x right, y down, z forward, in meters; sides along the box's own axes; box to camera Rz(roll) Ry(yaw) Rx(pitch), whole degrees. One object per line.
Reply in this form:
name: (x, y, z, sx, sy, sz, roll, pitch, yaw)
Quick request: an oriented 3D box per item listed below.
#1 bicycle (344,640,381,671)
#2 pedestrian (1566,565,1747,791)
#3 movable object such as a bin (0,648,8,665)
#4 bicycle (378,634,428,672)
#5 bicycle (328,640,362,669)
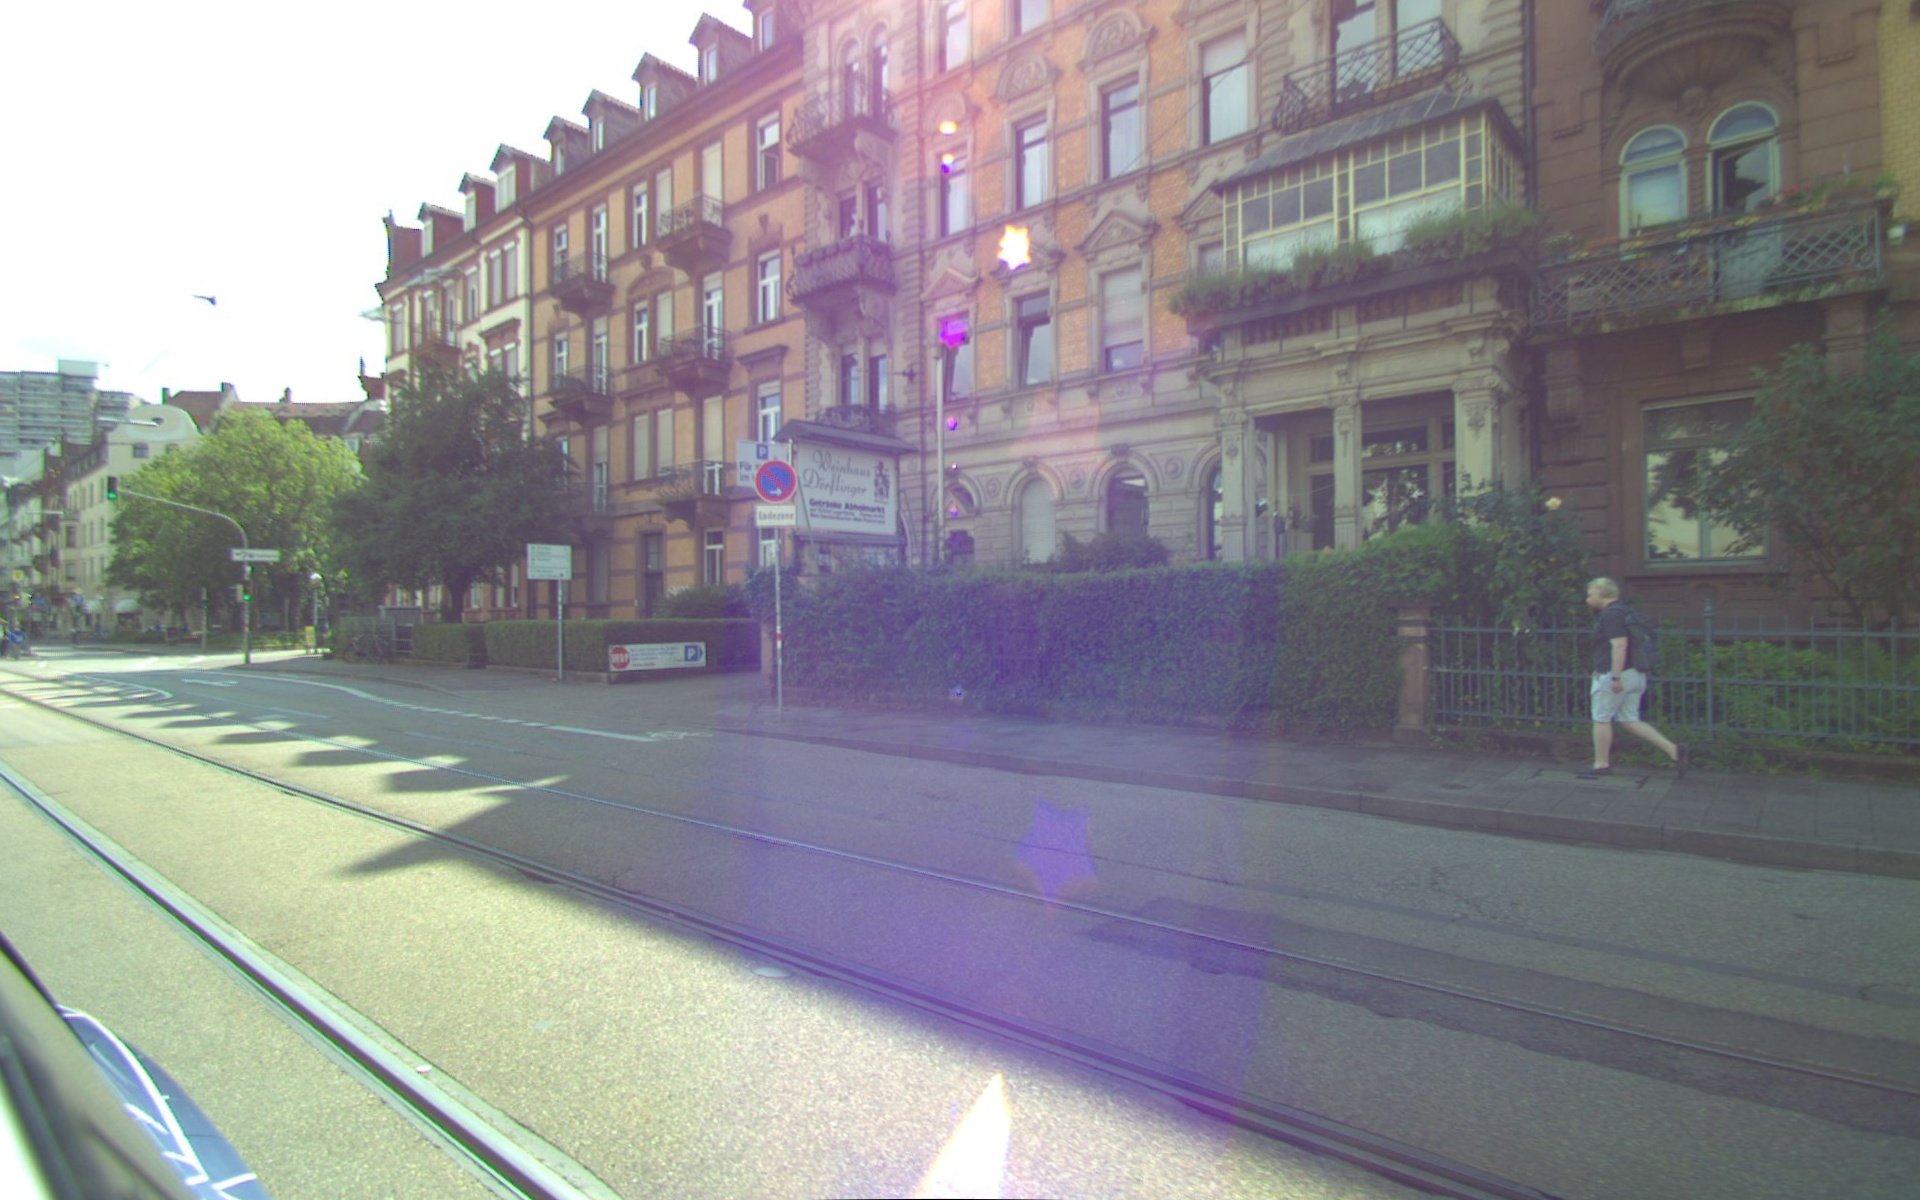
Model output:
bicycle: (-19.254, 1.779, 32.589, 1.826, 0.939, 0.553, -2, -2, 44)
pedestrian: (5.674, 0.606, 8.272, 1.150, 1.716, 0.483, -2, -1, 39)
movable object such as a bin: (-42.013, 2.471, 44.180, 0.455, 0.723, 0.508, -2, -2, 27)
bicycle: (-17.406, 1.637, 31.642, 0.496, 1.140, 1.292, -2, -1, 39)
bicycle: (-20.597, 1.818, 33.882, 1.826, 0.939, 0.553, -2, -2, 44)
